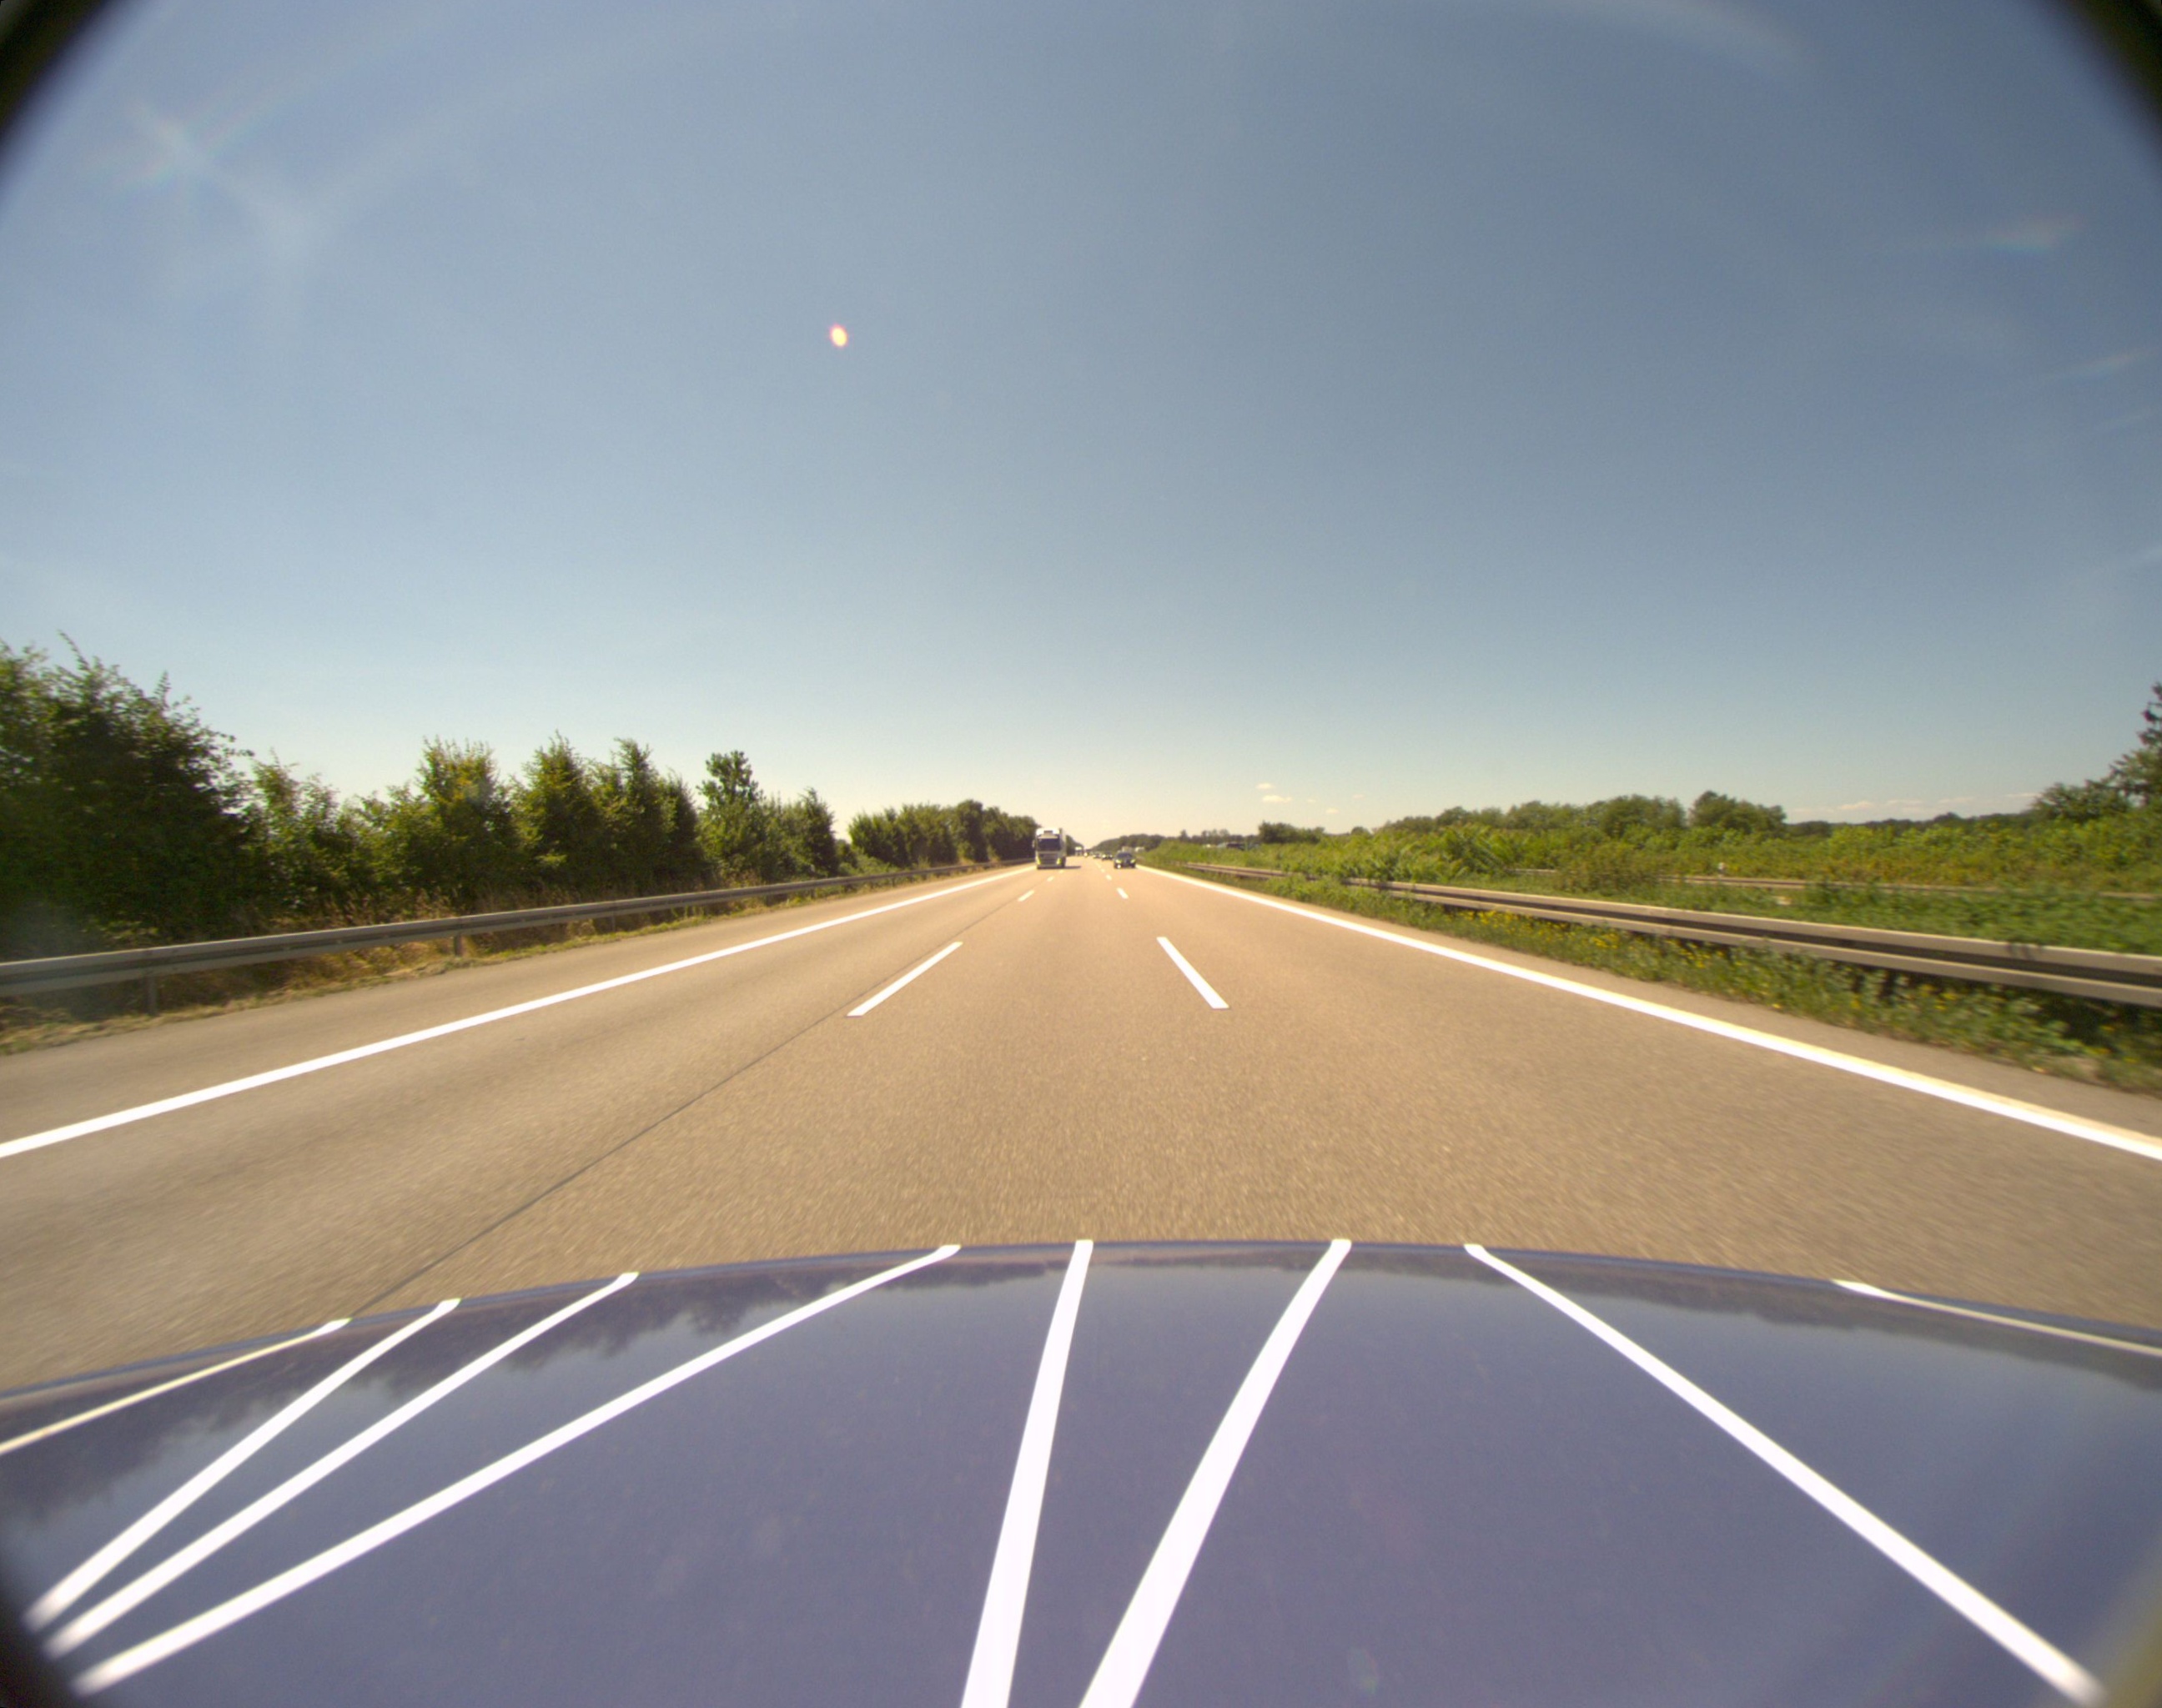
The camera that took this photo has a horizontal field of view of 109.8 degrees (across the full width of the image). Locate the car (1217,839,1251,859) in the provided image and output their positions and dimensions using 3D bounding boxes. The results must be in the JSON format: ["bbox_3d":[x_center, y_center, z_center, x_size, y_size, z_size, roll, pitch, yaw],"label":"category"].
[{"bbox_3d":[15.325,-0.512,76.371,2.264,1.888,5.519,-2,0,1],"label":"car"}]

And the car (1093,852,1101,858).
[{"bbox_3d":[3.779,0.207,176.140,1.811,1.417,4.000,-2,0,1],"label":"car"}]

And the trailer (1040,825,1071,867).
[{"bbox_3d":[-2.612,-0.848,82.252,2.476,4.038,13.879,-2,0,1],"label":"trailer"}]

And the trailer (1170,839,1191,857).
[{"bbox_3d":[22.396,-1.291,171.888,2.941,3.847,13.908,-2,0,0],"label":"trailer"}]

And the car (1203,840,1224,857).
[{"bbox_3d":[21.453,-0.901,123.471,2.476,2.693,5.519,-2,1,1],"label":"car"}]

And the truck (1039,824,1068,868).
[{"bbox_3d":[-2.685,-0.800,75.904,2.476,4.039,6.319,-2,1,1],"label":"truck"}]

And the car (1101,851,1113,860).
[{"bbox_3d":[4.457,0.300,130.278,1.811,1.417,4.000,-2,0,1],"label":"car"}]

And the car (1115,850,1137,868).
[{"bbox_3d":[4.051,0.458,68.817,1.811,1.459,4.000,-2,1,1],"label":"car"}]

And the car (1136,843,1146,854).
[{"bbox_3d":[14.142,-1.393,179.266,1.811,2.486,6.777,-2,1,1],"label":"car"}]
